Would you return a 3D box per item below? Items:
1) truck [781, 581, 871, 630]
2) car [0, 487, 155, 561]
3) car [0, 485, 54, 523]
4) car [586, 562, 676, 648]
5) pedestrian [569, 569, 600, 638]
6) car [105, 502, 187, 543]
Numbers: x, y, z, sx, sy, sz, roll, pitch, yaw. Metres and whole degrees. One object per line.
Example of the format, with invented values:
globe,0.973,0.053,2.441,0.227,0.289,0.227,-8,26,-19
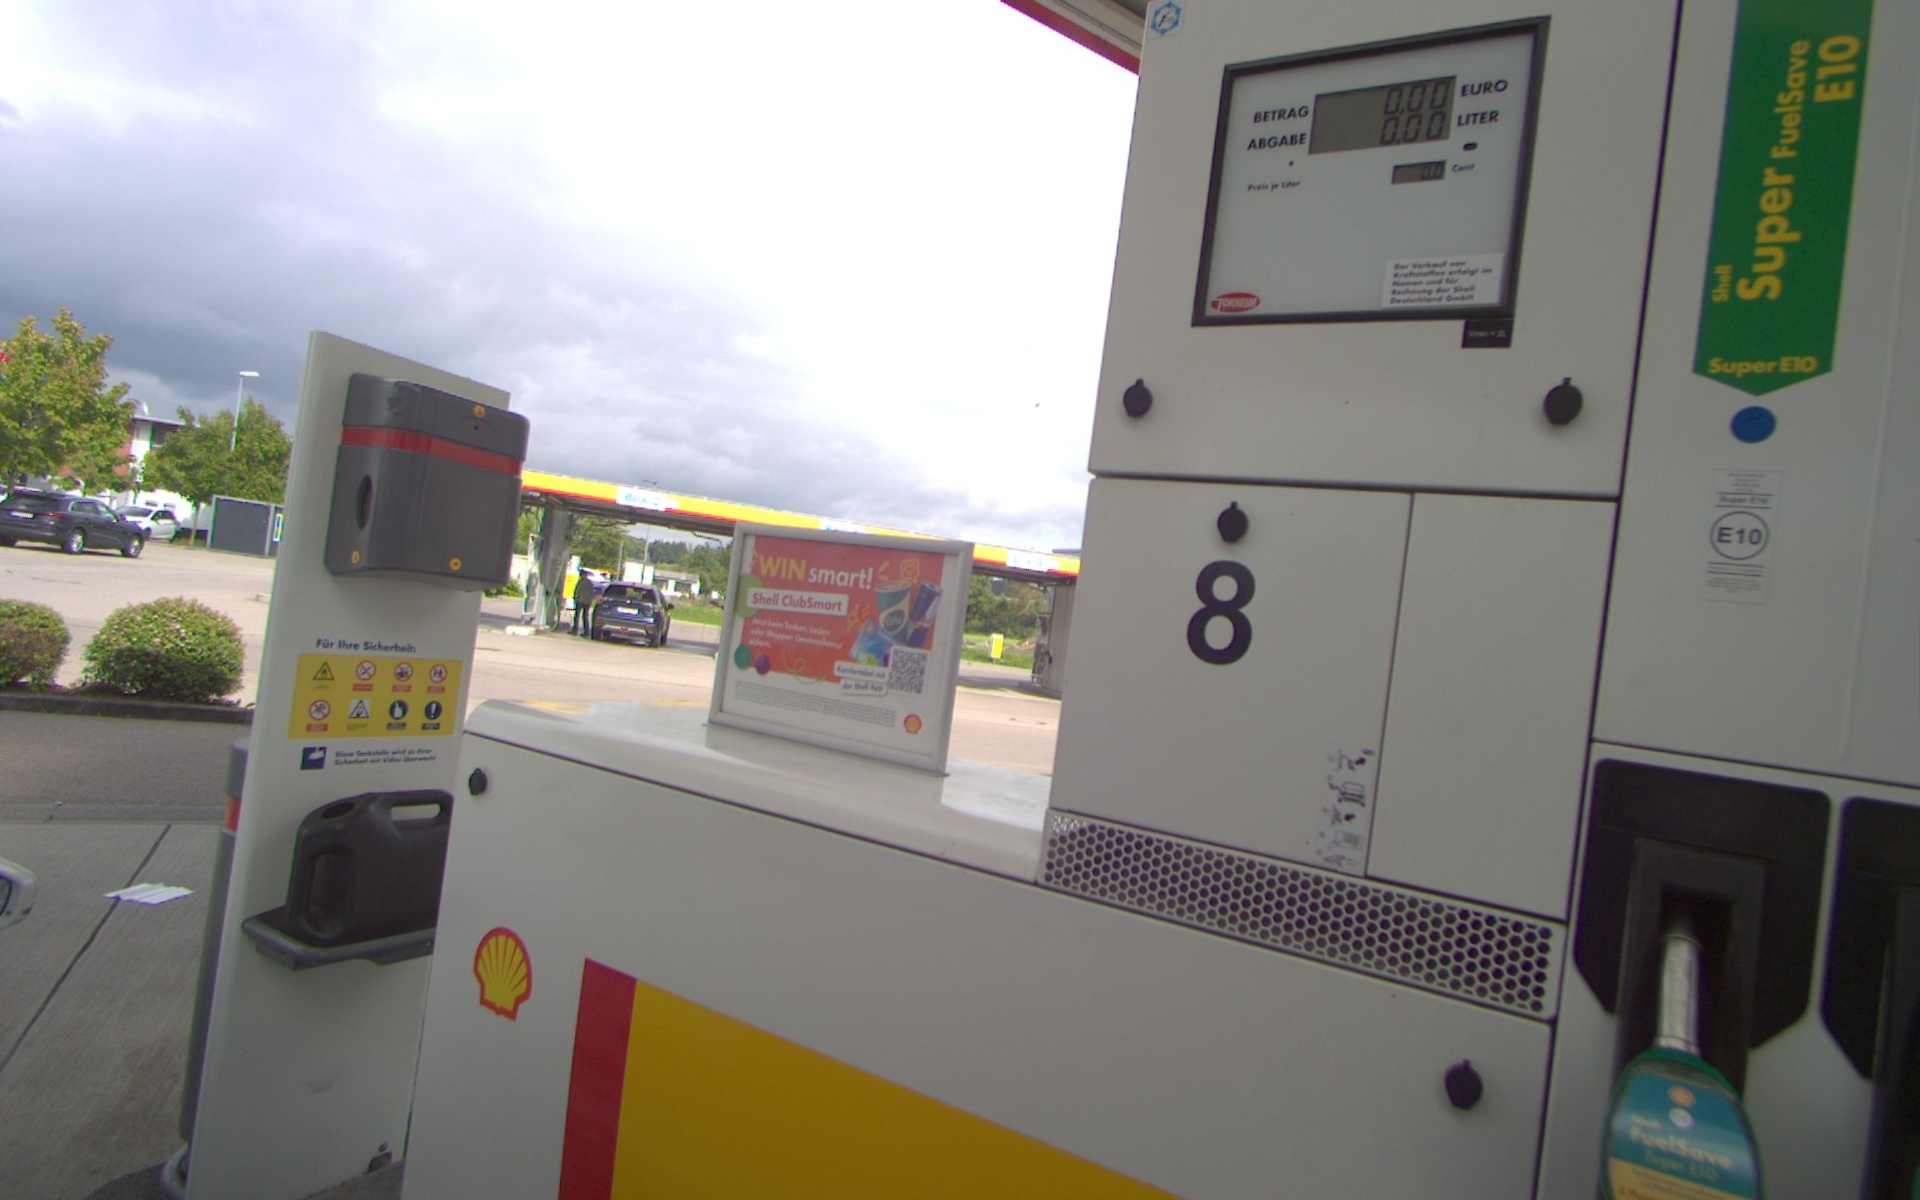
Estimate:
truck,-13.016,0.547,97.527,7.978,3.575,2.687,8,-2,-19
car,-25.930,-2.168,29.280,1.855,1.566,4.498,8,-2,-10
car,-57.361,-5.905,60.262,2.149,1.854,4.870,8,-2,-11
car,-8.698,0.149,26.882,1.696,1.919,3.800,8,-2,-12
pedestrian,-9.852,0.089,26.388,0.550,1.742,0.526,7,-1,-21
car,-35.260,-3.341,43.666,1.346,1.322,3.098,8,-2,-12
